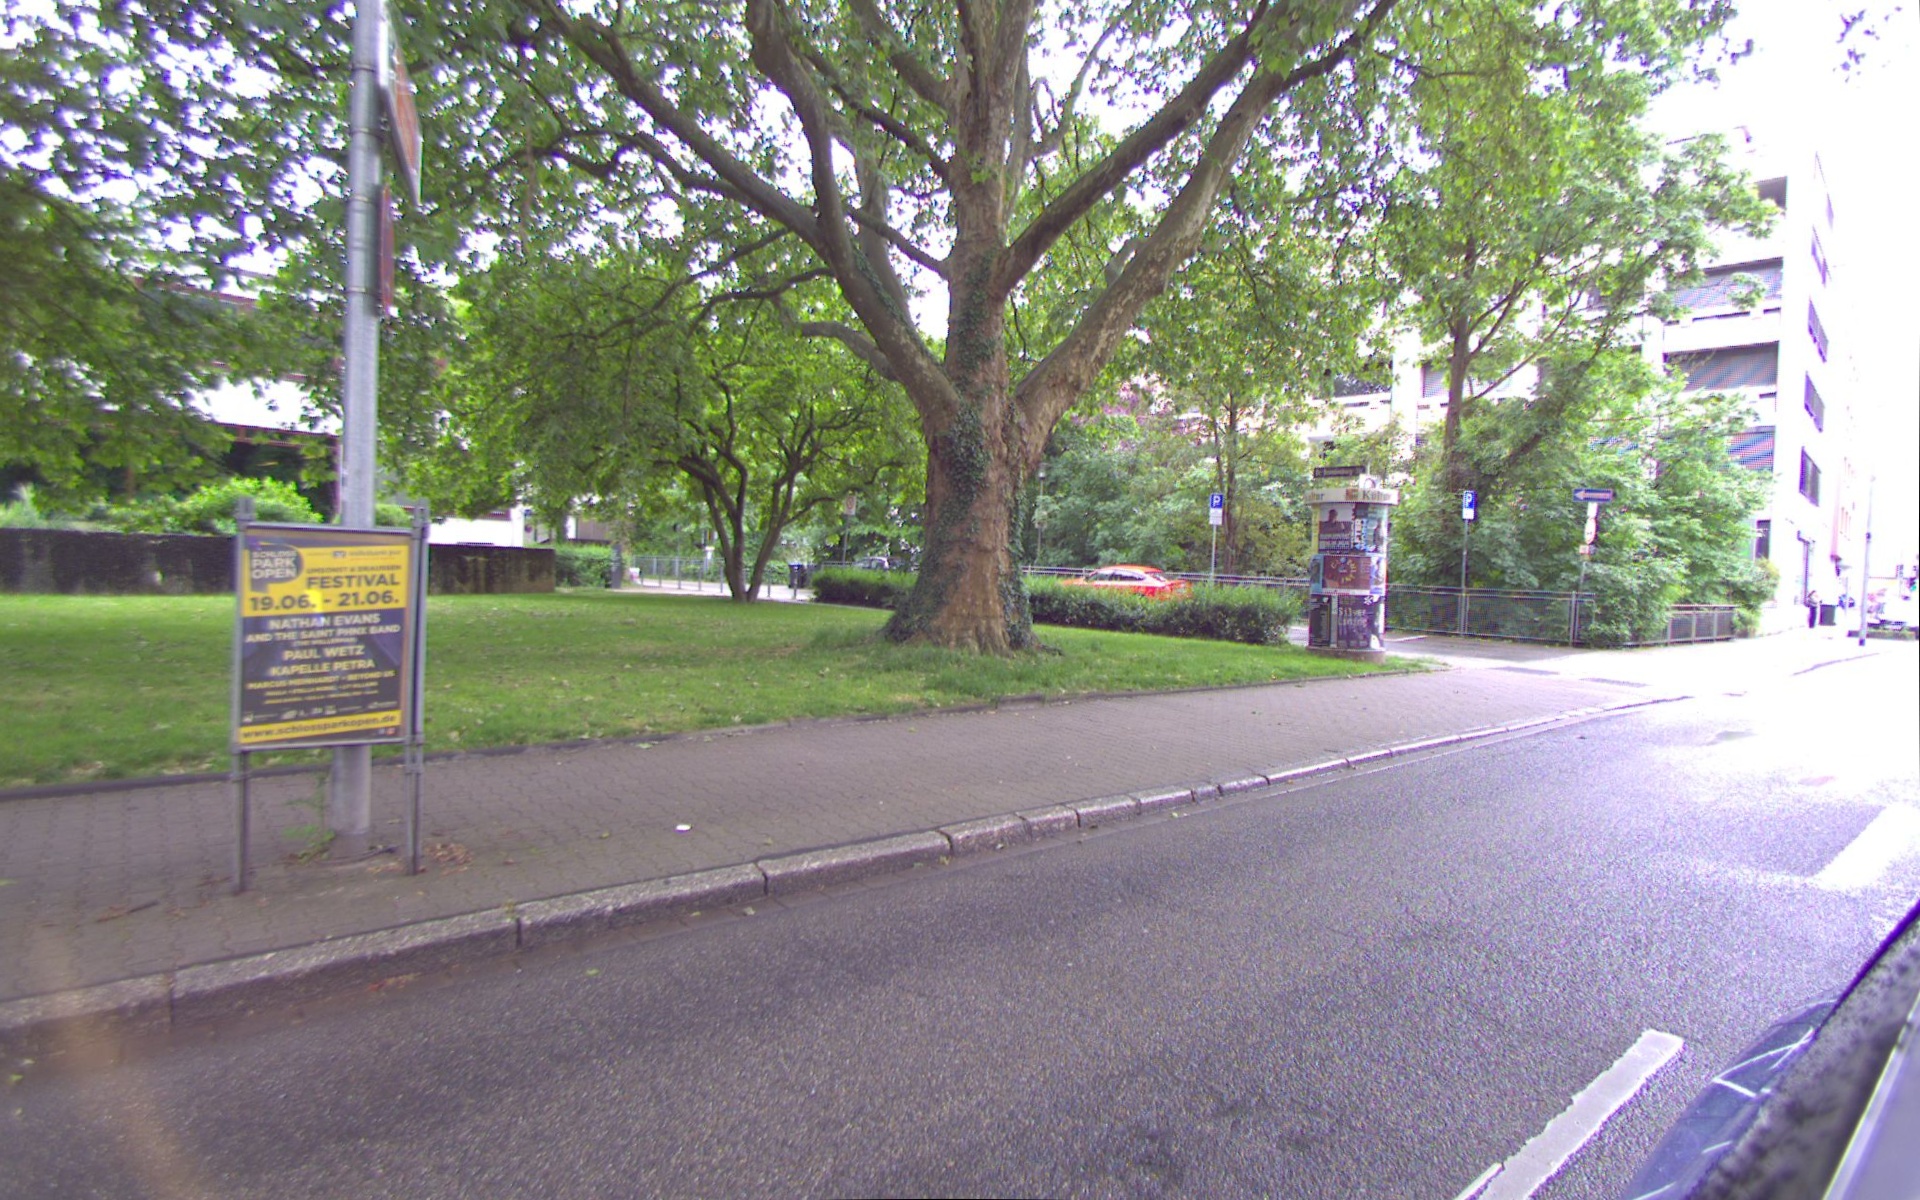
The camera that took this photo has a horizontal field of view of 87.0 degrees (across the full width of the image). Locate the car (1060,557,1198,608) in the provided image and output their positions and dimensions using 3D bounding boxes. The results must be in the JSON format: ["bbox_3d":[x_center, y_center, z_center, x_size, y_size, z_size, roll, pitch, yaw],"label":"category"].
[{"bbox_3d":[4.863,-0.543,29.500,1.551,1.294,3.784,-1,4,-44],"label":"car"}]

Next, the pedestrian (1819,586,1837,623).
[{"bbox_3d":[36.415,0.169,42.450,0.473,1.549,0.480,0,0,-41],"label":"pedestrian"}]

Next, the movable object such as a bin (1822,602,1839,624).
[{"bbox_3d":[41.909,0.617,48.708,0.287,1.054,0.556,0,3,-41],"label":"movable object such as a bin"}]

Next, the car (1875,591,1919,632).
[{"bbox_3d":[37.402,0.453,39.734,3.617,1.449,1.681,0,6,-41],"label":"car"}]

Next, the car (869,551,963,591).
[{"bbox_3d":[-1.624,-1.058,36.504,3.460,1.294,1.426,5,4,45],"label":"car"}]
